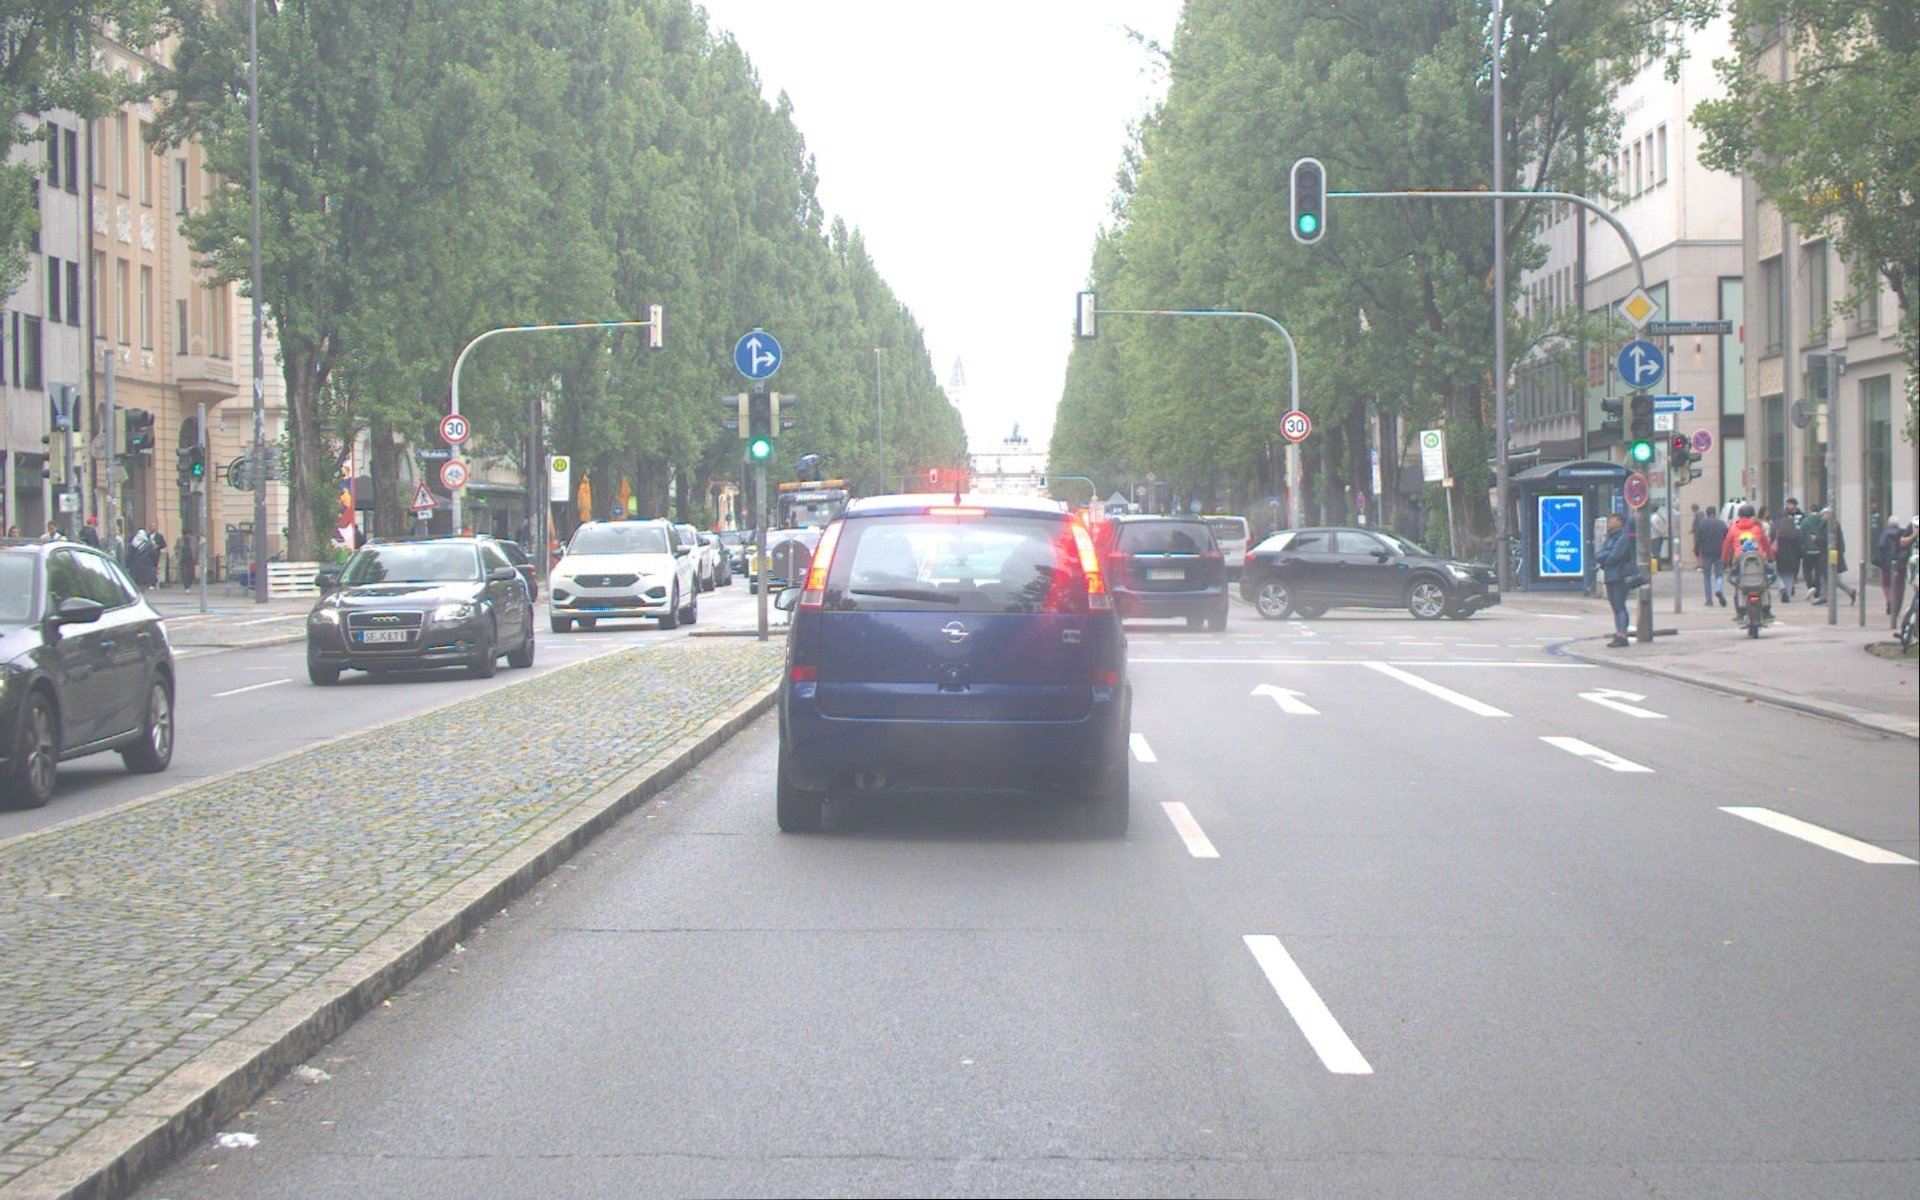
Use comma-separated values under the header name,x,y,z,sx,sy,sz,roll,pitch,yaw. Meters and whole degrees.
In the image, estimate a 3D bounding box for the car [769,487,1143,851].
name,x,y,z,sx,sy,sz,roll,pitch,yaw
car,-0.015,0.258,17.532,1.681,1.635,4.000,0,2,0

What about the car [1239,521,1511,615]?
name,x,y,z,sx,sy,sz,roll,pitch,yaw
car,6.696,-0.524,55.516,3.993,1.456,1.757,0,2,27

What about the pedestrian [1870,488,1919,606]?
name,x,y,z,sx,sy,sz,roll,pitch,yaw
pedestrian,13.817,-0.760,50.029,0.665,1.697,0.860,0,-1,-44

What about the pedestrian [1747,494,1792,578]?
name,x,y,z,sx,sy,sz,roll,pitch,yaw
pedestrian,17.254,-1.368,73.320,0.750,1.752,1.017,-1,1,2

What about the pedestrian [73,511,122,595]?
name,x,y,z,sx,sy,sz,roll,pitch,yaw
pedestrian,-18.586,-1.016,74.080,0.800,1.781,0.912,1,1,1

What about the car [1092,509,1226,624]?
name,x,y,z,sx,sy,sz,roll,pitch,yaw
car,2.807,-0.512,49.207,1.706,1.568,4.000,-1,1,0

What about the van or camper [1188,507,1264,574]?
name,x,y,z,sx,sy,sz,roll,pitch,yaw
van or camper,7.694,-1.742,99.748,1.868,1.876,4.903,0,1,1

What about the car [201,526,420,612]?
name,x,y,z,sx,sy,sz,roll,pitch,yaw
car,-11.802,-0.582,62.417,3.690,1.470,1.773,-1,1,-17

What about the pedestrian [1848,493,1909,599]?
name,x,y,z,sx,sy,sz,roll,pitch,yaw
pedestrian,14.451,-0.838,54.090,0.750,1.631,0.734,-2,-1,4

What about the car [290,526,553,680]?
name,x,y,z,sx,sy,sz,roll,pitch,yaw
car,-5.316,-0.018,34.437,1.836,1.356,4.176,-3,1,1

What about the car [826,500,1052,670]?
name,x,y,z,sx,sy,sz,roll,pitch,yaw
car,-0.181,-0.187,32.667,1.993,1.492,4.000,-1,2,0

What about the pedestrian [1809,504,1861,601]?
name,x,y,z,sx,sy,sz,roll,pitch,yaw
pedestrian,16.062,-0.865,63.128,0.750,1.752,0.859,-1,-1,3

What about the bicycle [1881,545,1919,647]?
name,x,y,z,sx,sy,sz,roll,pitch,yaw
bicycle,10.366,-0.055,37.614,0.405,1.066,1.810,5,2,17

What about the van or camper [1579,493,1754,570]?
name,x,y,z,sx,sy,sz,roll,pitch,yaw
van or camper,17.779,-1.725,86.635,4.105,1.860,1.898,1,1,5

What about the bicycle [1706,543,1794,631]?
name,x,y,z,sx,sy,sz,roll,pitch,yaw
bicycle,10.283,-0.184,44.838,0.627,1.083,2.264,-1,1,0

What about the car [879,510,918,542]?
name,x,y,z,sx,sy,sz,roll,pitch,yaw
car,-3.263,-3.926,182.689,1.913,1.675,4.586,-1,1,1

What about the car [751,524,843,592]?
name,x,y,z,sx,sy,sz,roll,pitch,yaw
car,-3.823,-1.025,81.414,1.843,1.496,4.986,-1,1,1

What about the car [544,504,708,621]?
name,x,y,z,sx,sy,sz,roll,pitch,yaw
car,-4.996,-0.603,51.994,1.844,1.630,4.575,-2,1,2

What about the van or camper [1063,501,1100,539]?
name,x,y,z,sx,sy,sz,roll,pitch,yaw
van or camper,8.336,-5.516,236.274,2.477,2.572,5.844,-1,1,1

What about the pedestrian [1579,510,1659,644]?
name,x,y,z,sx,sy,sz,roll,pitch,yaw
pedestrian,8.049,-0.290,42.026,0.765,1.604,0.864,-1,1,-3

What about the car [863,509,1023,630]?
name,x,y,z,sx,sy,sz,roll,pitch,yaw
car,-0.202,-0.434,45.176,1.993,1.492,4.000,-1,1,0

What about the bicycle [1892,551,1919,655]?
name,x,y,z,sx,sy,sz,roll,pitch,yaw
bicycle,10.069,0.032,35.294,0.508,1.044,1.770,-1,1,-1

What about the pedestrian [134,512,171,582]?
name,x,y,z,sx,sy,sz,roll,pitch,yaw
pedestrian,-20.735,-1.359,88.320,0.699,1.781,0.820,-1,1,2

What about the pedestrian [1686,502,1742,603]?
name,x,y,z,sx,sy,sz,roll,pitch,yaw
pedestrian,13.704,-0.870,62.539,0.818,1.811,0.891,0,1,0

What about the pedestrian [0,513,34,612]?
name,x,y,z,sx,sy,sz,roll,pitch,yaw
pedestrian,-16.169,-0.645,58.629,0.586,1.685,0.514,-1,1,1

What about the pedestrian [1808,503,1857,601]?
name,x,y,z,sx,sy,sz,roll,pitch,yaw
pedestrian,15.631,-0.866,61.618,0.708,1.752,0.752,0,1,3

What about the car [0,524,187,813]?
name,x,y,z,sx,sy,sz,roll,pitch,yaw
car,-5.726,0.342,19.329,1.756,1.460,4.050,-2,1,1

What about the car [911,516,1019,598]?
name,x,y,z,sx,sy,sz,roll,pitch,yaw
car,0.098,-0.842,65.648,1.993,1.492,4.000,-1,1,0

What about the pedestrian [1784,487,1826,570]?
name,x,y,z,sx,sy,sz,roll,pitch,yaw
pedestrian,18.069,-1.528,73.547,0.750,1.752,0.711,0,1,3

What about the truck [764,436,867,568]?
name,x,y,z,sx,sy,sz,roll,pitch,yaw
truck,-4.170,-2.845,100.399,2.463,3.657,8.440,-1,1,1

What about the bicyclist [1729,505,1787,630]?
name,x,y,z,sx,sy,sz,roll,pitch,yaw
bicyclist,10.280,-0.421,44.290,0.621,1.583,0.481,-1,1,1

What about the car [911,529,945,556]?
name,x,y,z,sx,sy,sz,roll,pitch,yaw
car,-2.010,-3.634,216.936,1.935,1.618,4.336,-2,1,1

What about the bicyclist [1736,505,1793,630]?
name,x,y,z,sx,sy,sz,roll,pitch,yaw
bicyclist,10.275,-0.414,43.897,0.621,1.583,0.391,-1,1,1

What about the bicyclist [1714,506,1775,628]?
name,x,y,z,sx,sy,sz,roll,pitch,yaw
bicyclist,10.280,-0.435,45.083,0.621,1.583,0.753,-1,1,1

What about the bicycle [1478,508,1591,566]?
name,x,y,z,sx,sy,sz,roll,pitch,yaw
bicycle,12.436,-1.366,74.448,2.343,1.248,0.633,0,1,1

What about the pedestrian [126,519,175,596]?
name,x,y,z,sx,sy,sz,roll,pitch,yaw
pedestrian,-16.653,-0.886,70.759,0.750,1.562,0.989,-1,1,0

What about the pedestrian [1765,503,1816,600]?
name,x,y,z,sx,sy,sz,roll,pitch,yaw
pedestrian,15.268,-0.881,63.208,0.750,1.752,0.859,-1,-1,3

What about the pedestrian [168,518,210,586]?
name,x,y,z,sx,sy,sz,roll,pitch,yaw
pedestrian,-18.501,-1.148,82.517,0.778,1.613,0.934,-1,1,1

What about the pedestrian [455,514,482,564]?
name,x,y,z,sx,sy,sz,roll,pitch,yaw
pedestrian,-16.606,-2.069,116.259,0.734,1.667,0.952,-1,1,1
